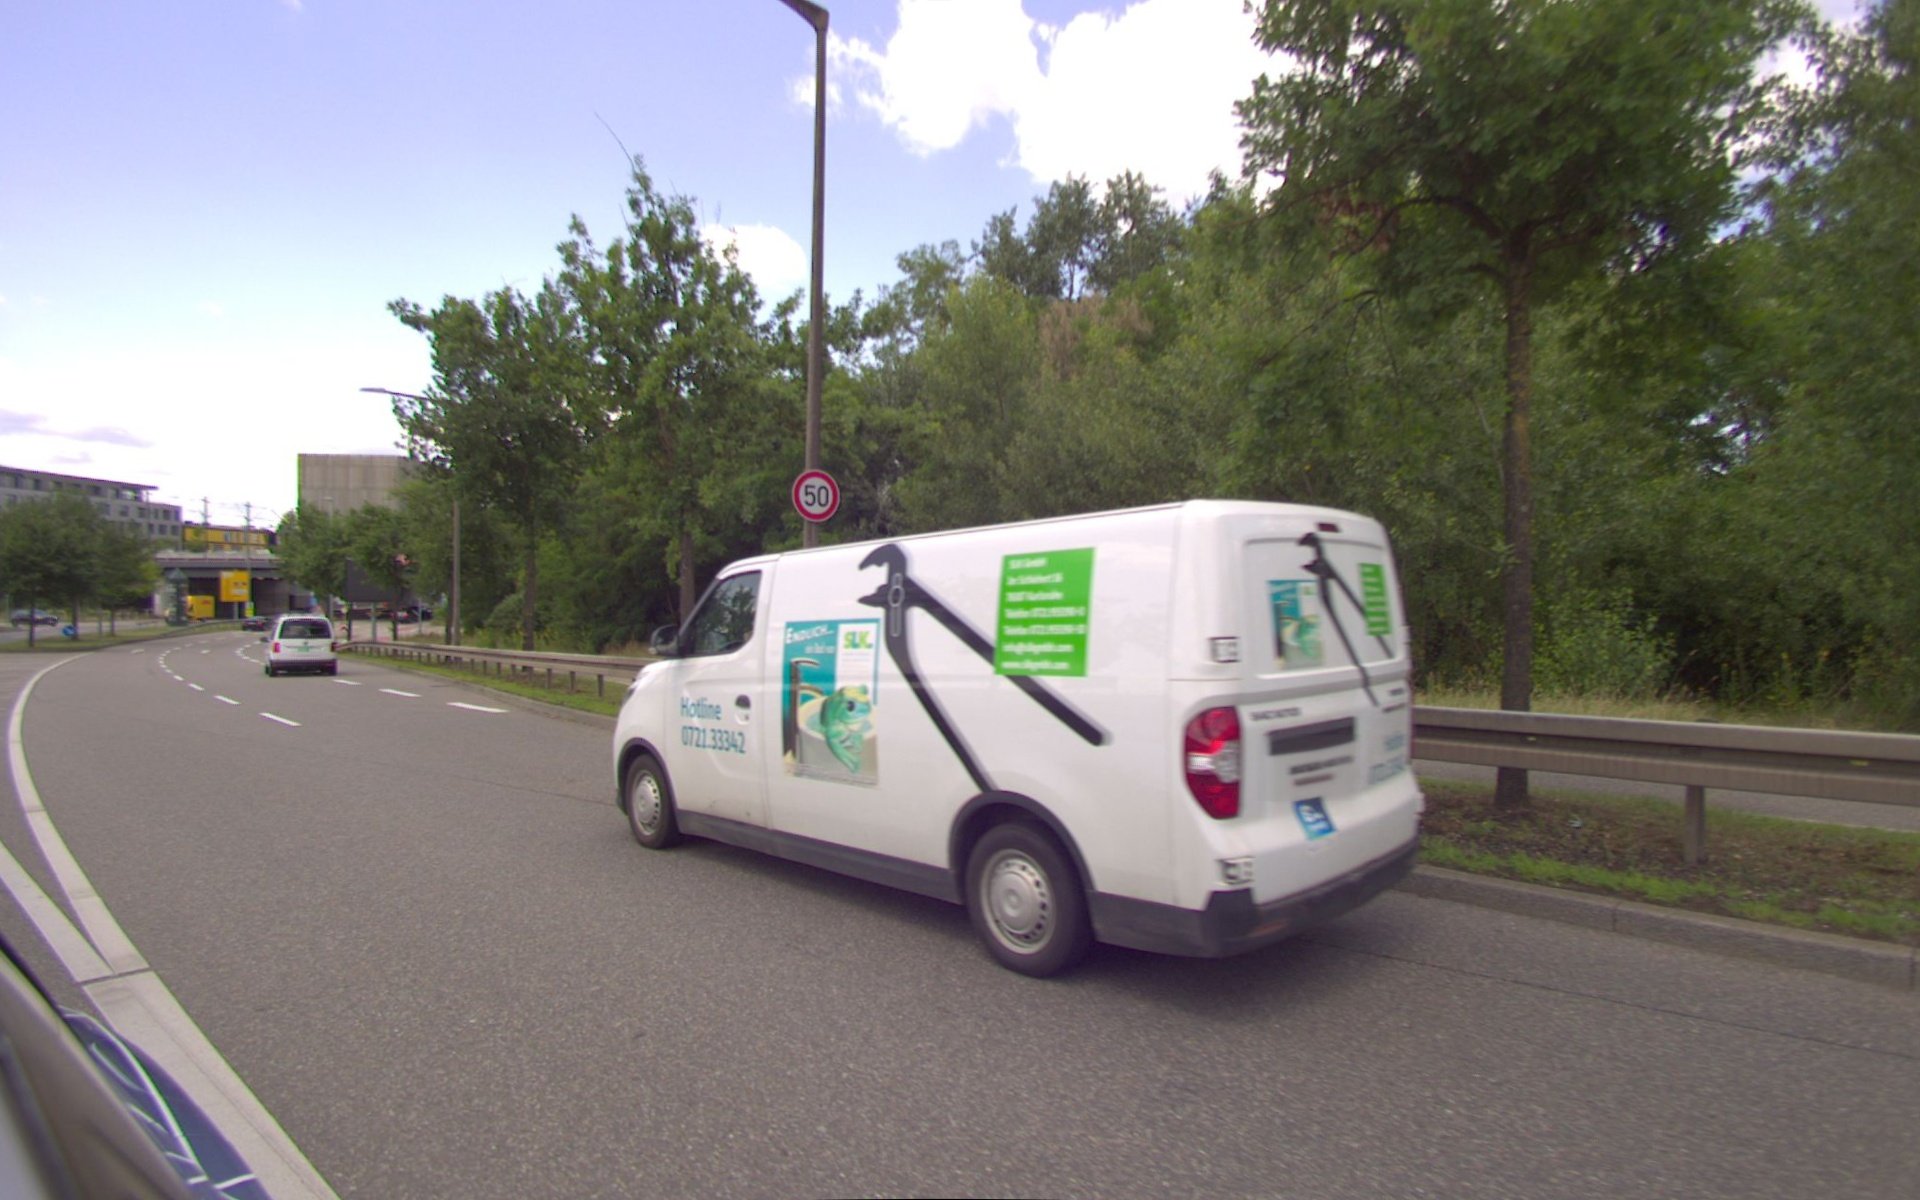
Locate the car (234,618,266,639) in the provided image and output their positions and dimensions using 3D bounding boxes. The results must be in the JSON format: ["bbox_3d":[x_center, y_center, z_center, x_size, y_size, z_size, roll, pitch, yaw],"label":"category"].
[{"bbox_3d":[-66.131,2.662,94.298,1.946,1.849,4.012,2,-2,-30],"label":"car"}]

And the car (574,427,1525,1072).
[{"bbox_3d":[-0.132,0.491,5.478,1.755,1.881,5.271,0,-1,-44],"label":"car"}]

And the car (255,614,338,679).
[{"bbox_3d":[-20.784,1.417,31.630,1.752,1.877,4.132,1,-2,-39],"label":"car"}]

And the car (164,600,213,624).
[{"bbox_3d":[-82.018,1.233,107.665,1.969,2.337,4.895,-2,1,-7],"label":"car"}]

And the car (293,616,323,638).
[{"bbox_3d":[-64.070,2.636,99.496,1.945,2.029,4.013,2,-2,-25],"label":"car"}]
